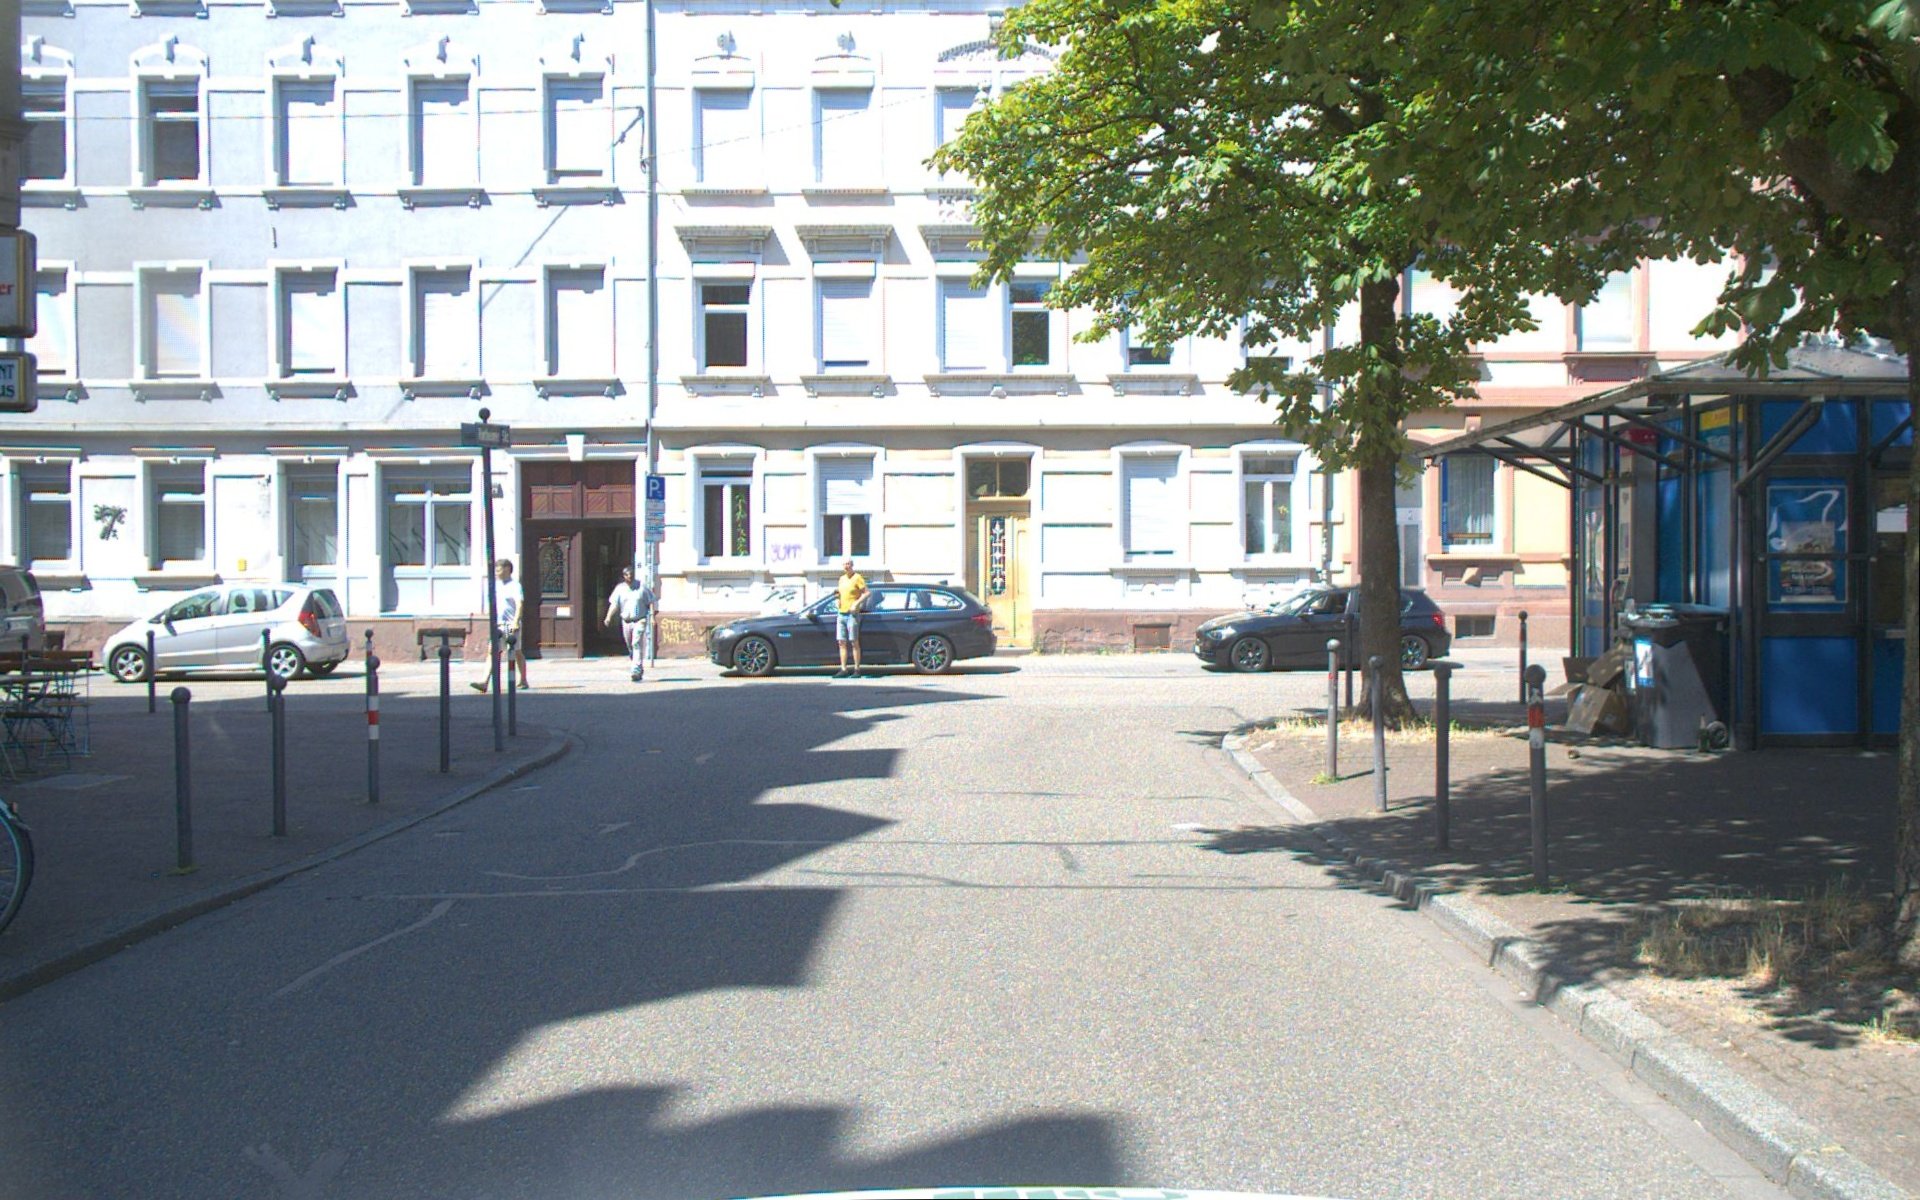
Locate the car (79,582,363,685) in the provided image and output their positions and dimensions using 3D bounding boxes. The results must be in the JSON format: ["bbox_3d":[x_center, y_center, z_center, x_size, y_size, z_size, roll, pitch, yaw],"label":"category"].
[{"bbox_3d":[-12.452,0.541,28.065,3.964,1.589,1.807,-1,0,-1],"label":"car"}]

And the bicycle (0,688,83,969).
[{"bbox_3d":[-4.468,0.883,6.587,1.671,1.063,0.414,1,0,-4],"label":"bicycle"}]

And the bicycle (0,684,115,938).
[{"bbox_3d":[-4.455,0.875,7.020,1.494,1.025,0.367,2,0,-4],"label":"bicycle"}]

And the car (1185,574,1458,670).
[{"bbox_3d":[6.014,0.347,27.833,4.206,1.394,1.807,-1,3,0],"label":"car"}]

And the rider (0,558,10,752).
[{"bbox_3d":[-8.916,0.494,14.817,0.537,1.726,0.631,-1,0,-45],"label":"rider"}]

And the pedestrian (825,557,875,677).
[{"bbox_3d":[-1.765,0.272,26.537,0.711,1.886,0.683,-1,0,-9],"label":"pedestrian"}]

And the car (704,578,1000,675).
[{"bbox_3d":[-1.738,0.420,27.767,4.759,1.462,2.000,-1,0,0],"label":"car"}]

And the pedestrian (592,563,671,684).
[{"bbox_3d":[-5.176,0.361,26.093,0.882,1.845,0.961,-1,0,11],"label":"pedestrian"}]

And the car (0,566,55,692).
[{"bbox_3d":[-18.017,0.522,27.693,4.610,2.032,1.877,-1,2,0],"label":"car"}]

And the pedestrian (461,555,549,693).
[{"bbox_3d":[-6.477,0.333,23.585,0.831,1.922,0.936,-1,0,11],"label":"pedestrian"}]
